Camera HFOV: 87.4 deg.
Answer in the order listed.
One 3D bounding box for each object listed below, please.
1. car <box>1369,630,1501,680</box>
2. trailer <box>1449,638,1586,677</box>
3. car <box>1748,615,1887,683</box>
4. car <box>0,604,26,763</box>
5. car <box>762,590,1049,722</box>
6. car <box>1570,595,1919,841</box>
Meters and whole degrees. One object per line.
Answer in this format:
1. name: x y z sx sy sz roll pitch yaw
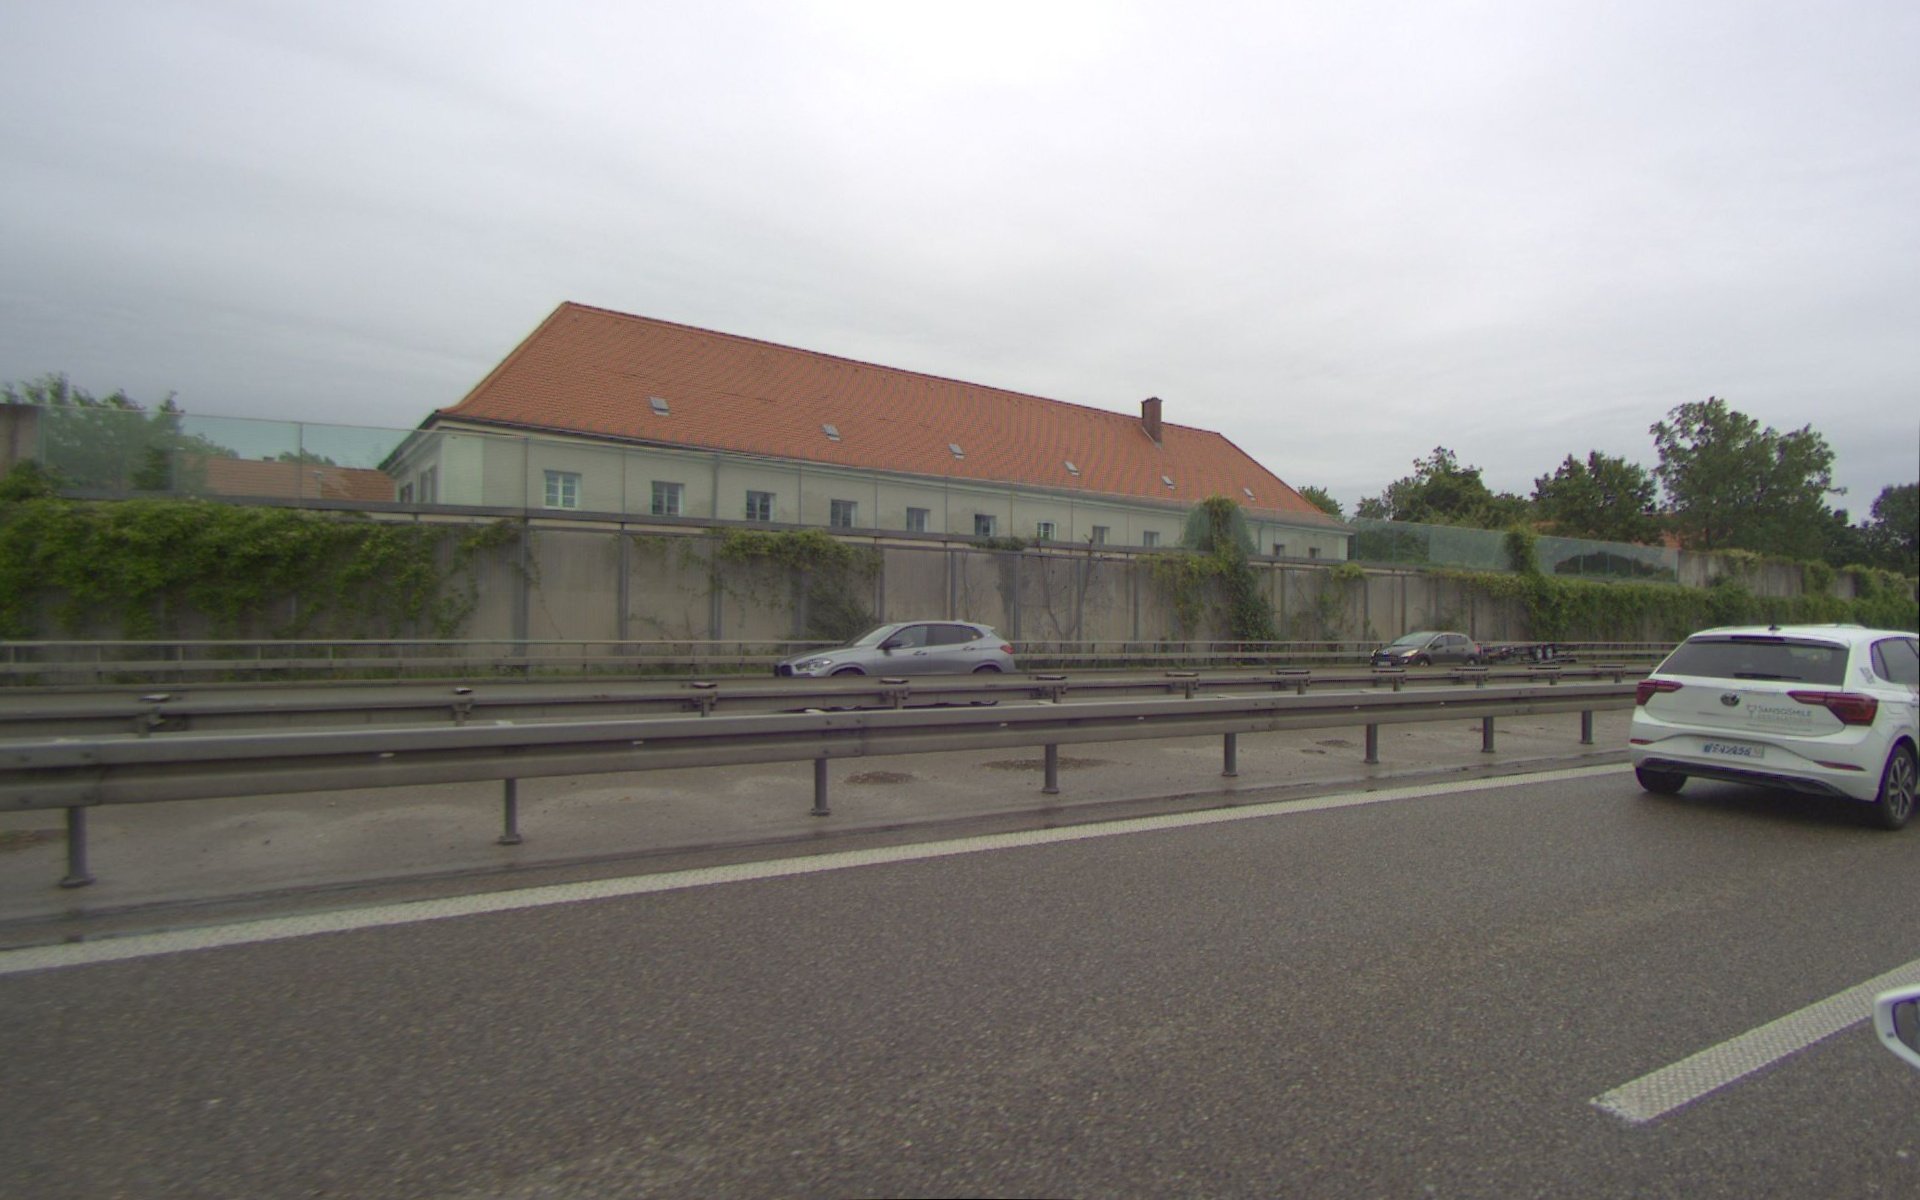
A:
1. car: 16.674 1.924 35.260 4.467 1.573 1.947 2 0 -29
2. trailer: 20.972 2.151 37.738 5.186 1.284 2.120 2 0 -30
3. car: 24.920 1.403 29.145 4.486 1.774 1.778 2 0 -32
4. car: -10.633 0.690 7.758 4.710 1.424 1.594 2 -5 -31
5. car: -0.899 0.932 17.610 4.680 2.040 1.922 2 -1 -32
6. car: 7.389 0.838 8.632 4.610 1.639 1.744 1 -1 -31
